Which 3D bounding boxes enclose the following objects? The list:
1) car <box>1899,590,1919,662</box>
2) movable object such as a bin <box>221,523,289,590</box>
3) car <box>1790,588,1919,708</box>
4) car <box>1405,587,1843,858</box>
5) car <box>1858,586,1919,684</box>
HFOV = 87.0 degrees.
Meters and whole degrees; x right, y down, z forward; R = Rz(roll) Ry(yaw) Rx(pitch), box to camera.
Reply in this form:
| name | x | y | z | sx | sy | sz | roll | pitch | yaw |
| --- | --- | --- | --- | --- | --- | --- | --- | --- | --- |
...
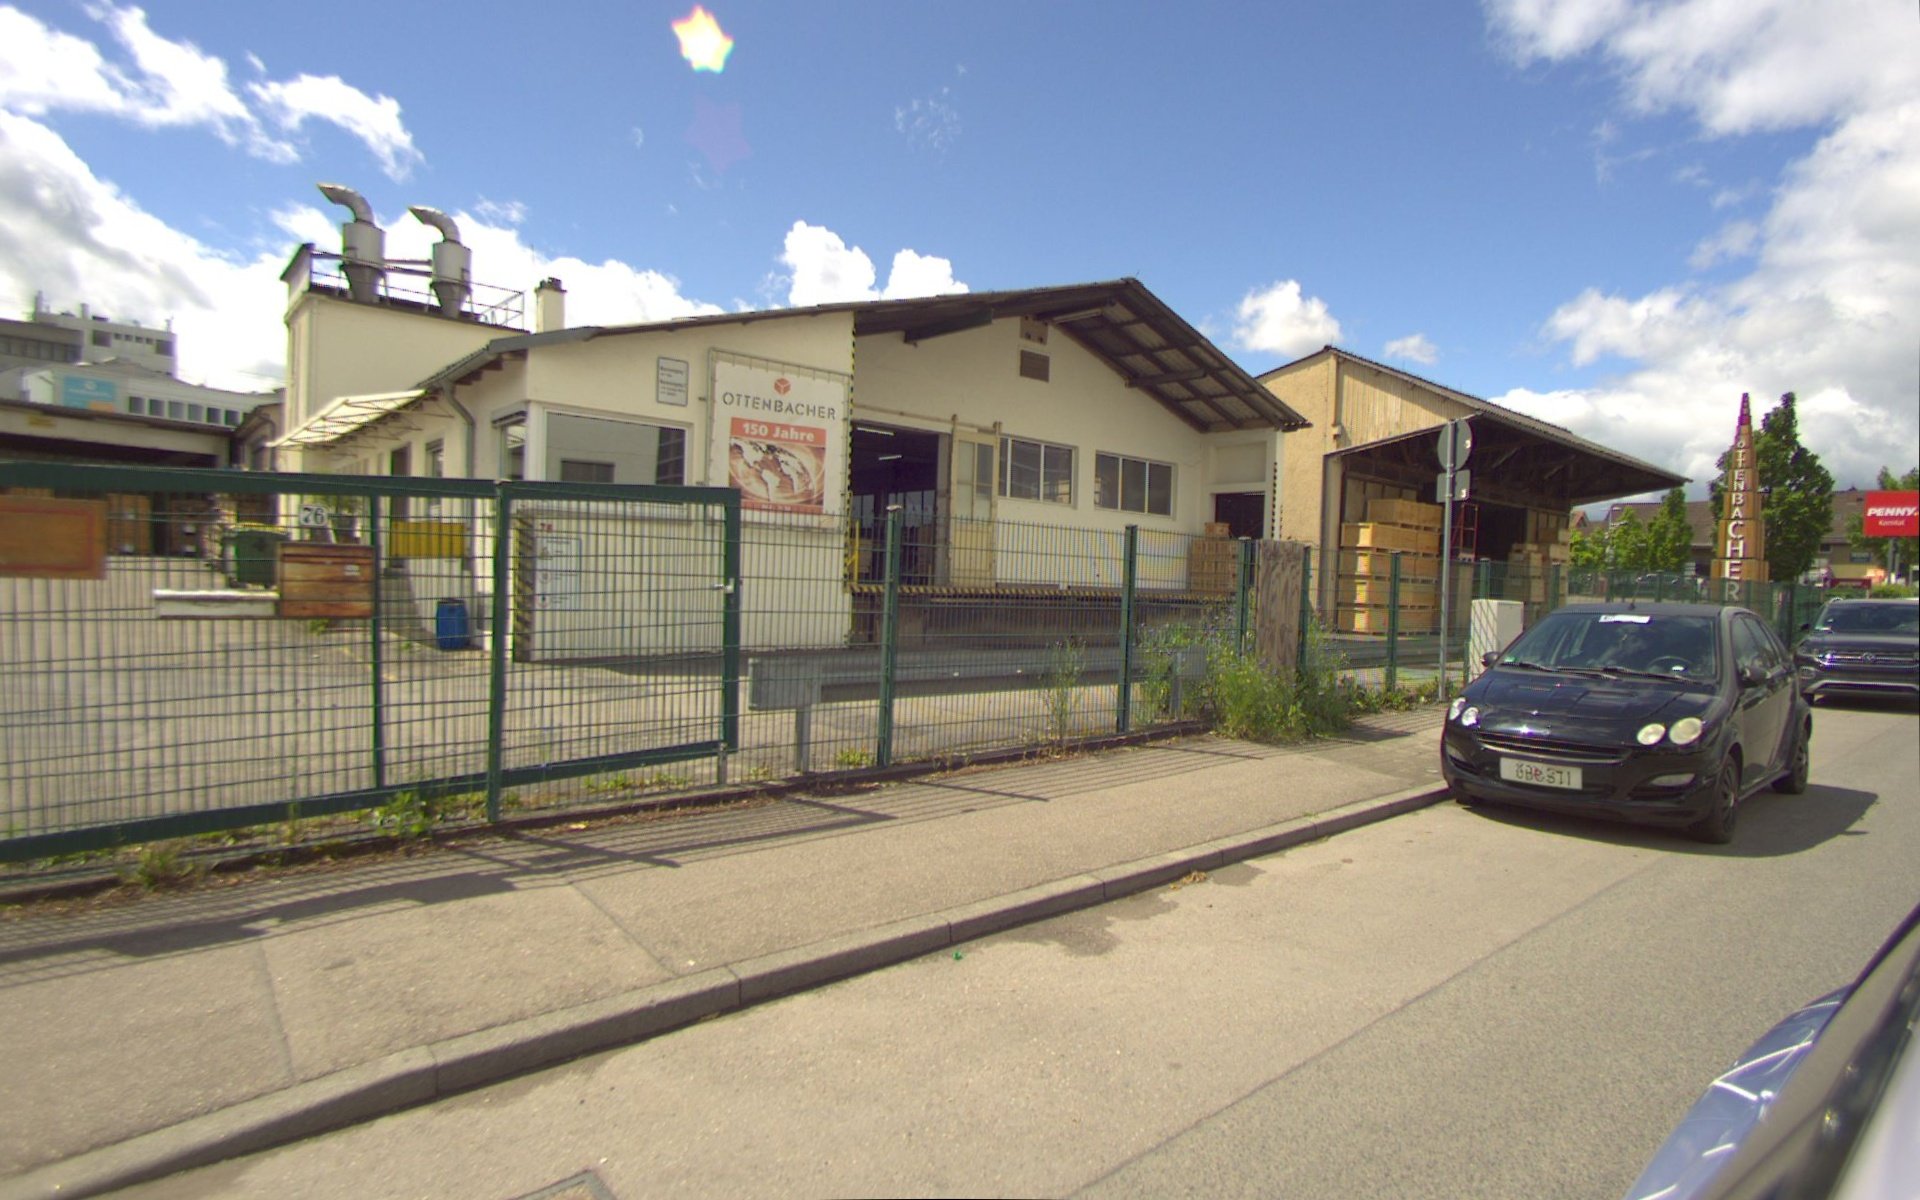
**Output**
| name | x | y | z | sx | sy | sz | roll | pitch | yaw |
| --- | --- | --- | --- | --- | --- | --- | --- | --- | --- |
| car | 21.833 | 0.587 | 21.869 | 3.930 | 1.485 | 1.806 | 0 | 3 | -41 |
| movable object such as a bin | -15.183 | -0.935 | 21.795 | 1.043 | 1.364 | 1.121 | 0 | 4 | -43 |
| car | 13.989 | 0.627 | 15.078 | 4.114 | 1.595 | 1.810 | 0 | 0 | -41 |
| car | 5.104 | 0.672 | 7.572 | 3.930 | 1.482 | 1.758 | 0 | 1 | -41 |
| car | 17.634 | 0.588 | 18.058 | 3.929 | 1.638 | 1.834 | 0 | -1 | -40 |
